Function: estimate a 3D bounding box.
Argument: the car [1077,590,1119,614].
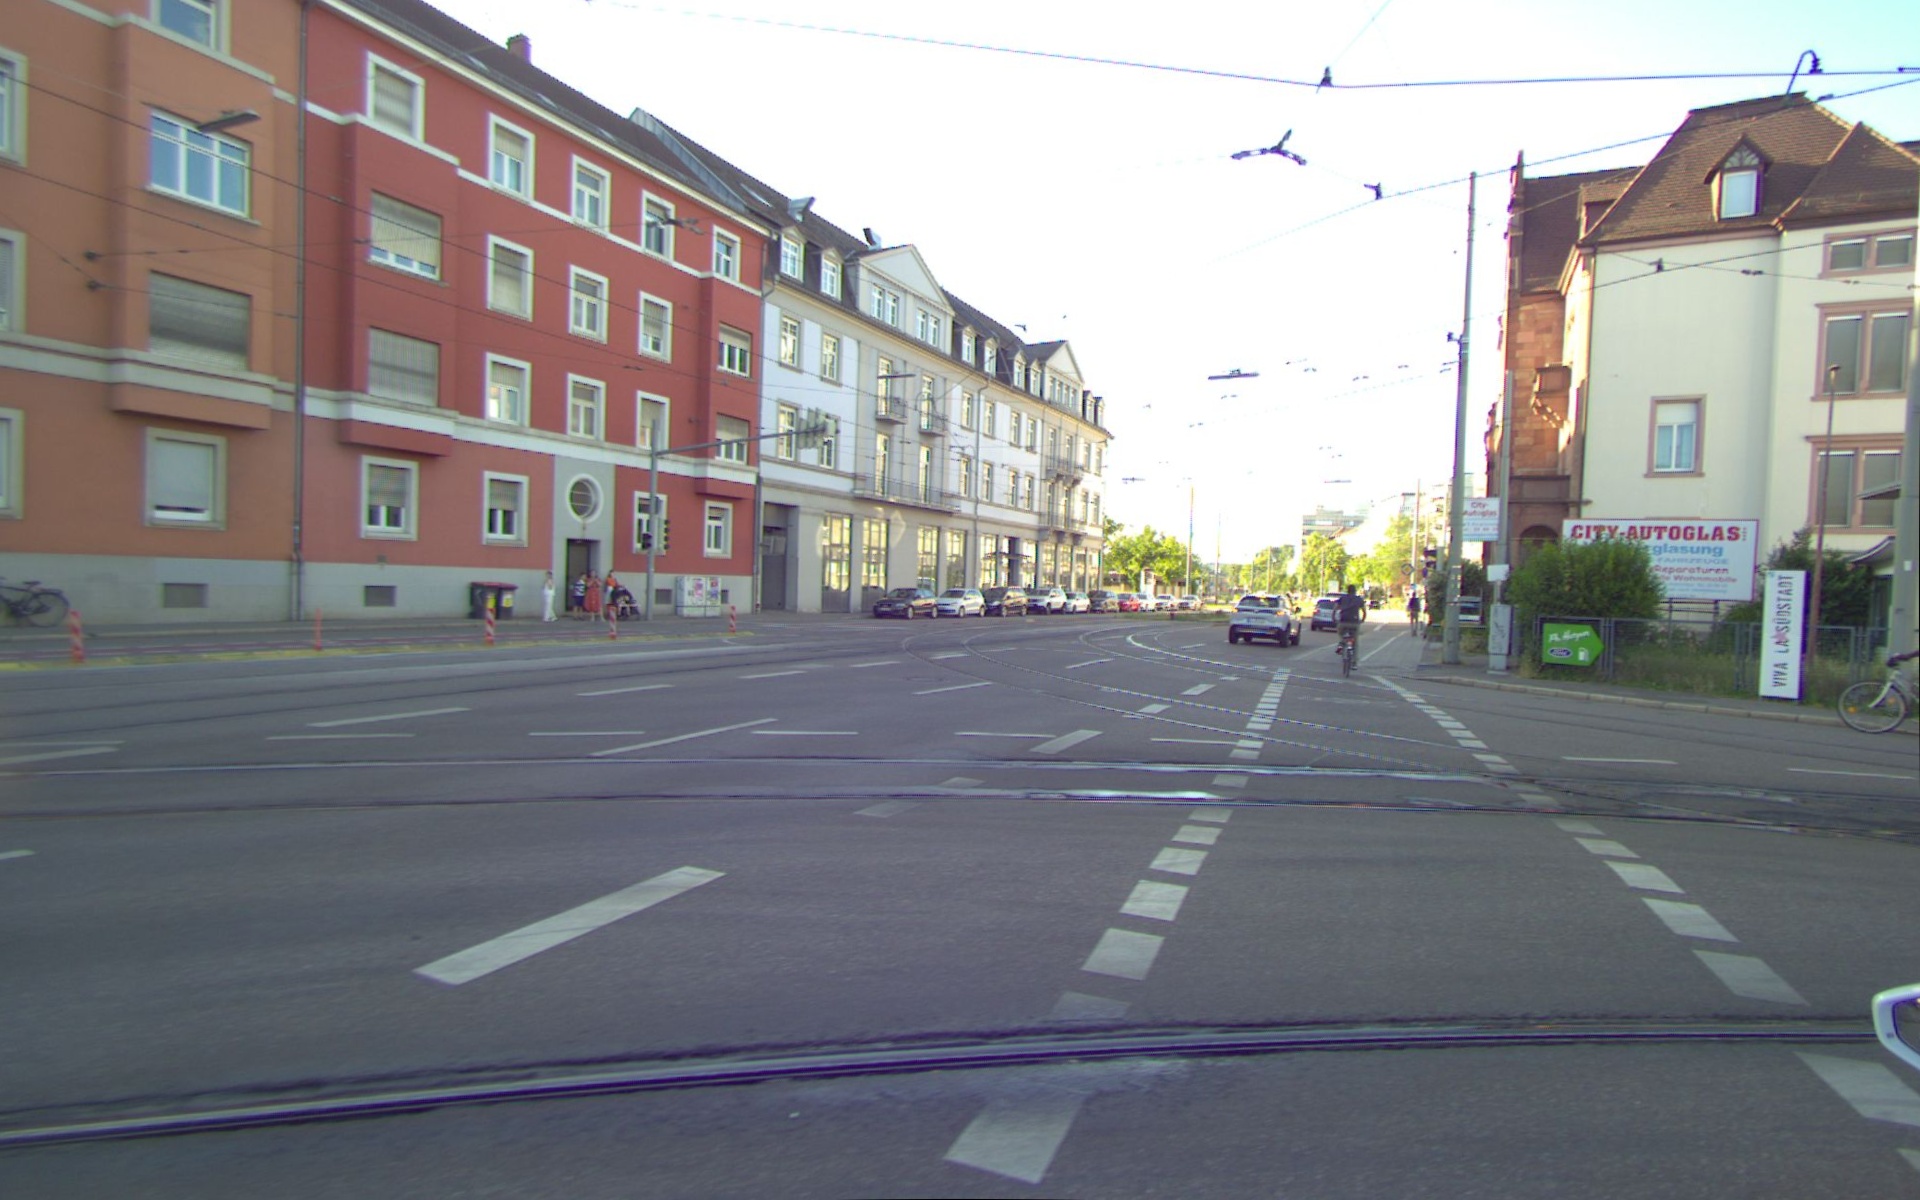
[{"bbox_3d":[9.695,0.153,70.335,1.693,1.573,3.995,2,1,26],"label":"car"}]

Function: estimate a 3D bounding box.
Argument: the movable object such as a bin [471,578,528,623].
[{"bbox_3d":[-13.431,0.012,29.300,0.858,1.266,1.230,2,1,33],"label":"movable object such as a bin"}]

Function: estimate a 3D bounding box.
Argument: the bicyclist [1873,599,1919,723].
[{"bbox_3d":[12.520,0.783,12.919,1.035,1.547,0.875,3,1,39],"label":"bicyclist"}]

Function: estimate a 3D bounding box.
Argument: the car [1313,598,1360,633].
[{"bbox_3d":[18.589,0.728,49.479,1.786,1.603,3.996,3,1,26],"label":"car"}]

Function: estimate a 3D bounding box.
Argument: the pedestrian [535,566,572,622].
[{"bbox_3d":[-12.340,-0.186,30.511,0.779,1.655,0.655,2,1,5],"label":"pedestrian"}]

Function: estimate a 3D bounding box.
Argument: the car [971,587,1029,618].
[{"bbox_3d":[2.244,0.144,55.089,1.693,1.573,3.851,2,1,26],"label":"car"}]

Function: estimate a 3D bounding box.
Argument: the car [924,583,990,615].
[{"bbox_3d":[-0.109,-0.061,50.736,1.693,1.471,3.995,2,1,26],"label":"car"}]

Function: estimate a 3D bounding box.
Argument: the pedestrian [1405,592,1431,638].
[{"bbox_3d":[19.113,0.636,41.917,0.862,1.849,1.183,3,1,28],"label":"pedestrian"}]

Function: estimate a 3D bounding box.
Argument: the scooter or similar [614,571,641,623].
[{"bbox_3d":[-10.858,-0.089,32.802,0.642,1.655,0.794,2,1,-6],"label":"scooter or similar"}]

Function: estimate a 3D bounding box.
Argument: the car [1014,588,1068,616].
[{"bbox_3d":[4.993,0.131,61.282,1.807,1.573,4.269,2,1,26],"label":"car"}]

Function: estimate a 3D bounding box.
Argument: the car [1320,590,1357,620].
[{"bbox_3d":[28.409,0.367,75.313,2.138,2.036,4.803,2,1,26],"label":"car"}]

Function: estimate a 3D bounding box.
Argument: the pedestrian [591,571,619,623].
[{"bbox_3d":[-11.566,-0.108,32.726,0.642,1.655,0.794,2,1,-6],"label":"pedestrian"}]

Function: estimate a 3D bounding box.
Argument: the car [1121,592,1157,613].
[{"bbox_3d":[14.299,0.206,79.988,1.693,1.573,3.995,2,1,26],"label":"car"}]

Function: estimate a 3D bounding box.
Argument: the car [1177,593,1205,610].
[{"bbox_3d":[22.388,0.140,97.306,1.693,1.573,3.995,2,1,26],"label":"car"}]

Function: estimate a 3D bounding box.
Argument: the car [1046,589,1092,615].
[{"bbox_3d":[7.192,0.122,65.922,1.693,1.573,3.995,2,1,26],"label":"car"}]

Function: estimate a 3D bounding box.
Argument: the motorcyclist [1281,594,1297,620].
[{"bbox_3d":[19.300,0.405,58.918,0.765,1.442,0.890,3,2,24],"label":"motorcyclist"}]

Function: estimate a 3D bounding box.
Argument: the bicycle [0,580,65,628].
[{"bbox_3d":[-18.455,0.072,19.493,0.329,0.902,1.601,3,1,31],"label":"bicycle"}]

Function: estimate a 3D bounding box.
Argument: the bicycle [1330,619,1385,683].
[{"bbox_3d":[7.662,0.959,19.440,0.758,1.100,1.871,3,1,16],"label":"bicycle"}]

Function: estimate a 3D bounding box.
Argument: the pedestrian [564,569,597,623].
[{"bbox_3d":[-11.894,-0.123,31.513,0.817,1.655,0.793,2,1,-11],"label":"pedestrian"}]

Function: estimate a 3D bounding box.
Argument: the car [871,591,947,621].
[{"bbox_3d":[-2.259,0.267,45.573,1.693,1.249,3.995,2,1,26],"label":"car"}]

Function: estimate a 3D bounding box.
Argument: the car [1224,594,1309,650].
[{"bbox_3d":[9.733,0.633,31.731,1.917,1.549,4.085,3,2,25],"label":"car"}]

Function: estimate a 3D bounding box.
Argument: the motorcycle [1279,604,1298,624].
[{"bbox_3d":[19.261,0.826,58.882,0.765,1.097,2.279,3,1,24],"label":"motorcycle"}]

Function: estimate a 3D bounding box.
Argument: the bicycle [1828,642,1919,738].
[{"bbox_3d":[12.544,1.188,12.895,2.033,1.140,0.892,3,2,39],"label":"bicycle"}]

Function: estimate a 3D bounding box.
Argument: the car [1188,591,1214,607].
[{"bbox_3d":[24.690,-0.140,102.873,1.693,1.573,3.995,2,1,26],"label":"car"}]

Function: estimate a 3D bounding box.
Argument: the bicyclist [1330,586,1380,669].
[{"bbox_3d":[7.698,0.522,19.580,0.820,1.545,0.993,3,1,21],"label":"bicyclist"}]

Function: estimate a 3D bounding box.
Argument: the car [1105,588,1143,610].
[{"bbox_3d":[12.385,-0.101,75.644,1.693,1.573,3.995,2,1,26],"label":"car"}]

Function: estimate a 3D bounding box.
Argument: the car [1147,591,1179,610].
[{"bbox_3d":[17.711,0.039,87.516,1.693,1.573,3.995,3,1,26],"label":"car"}]
